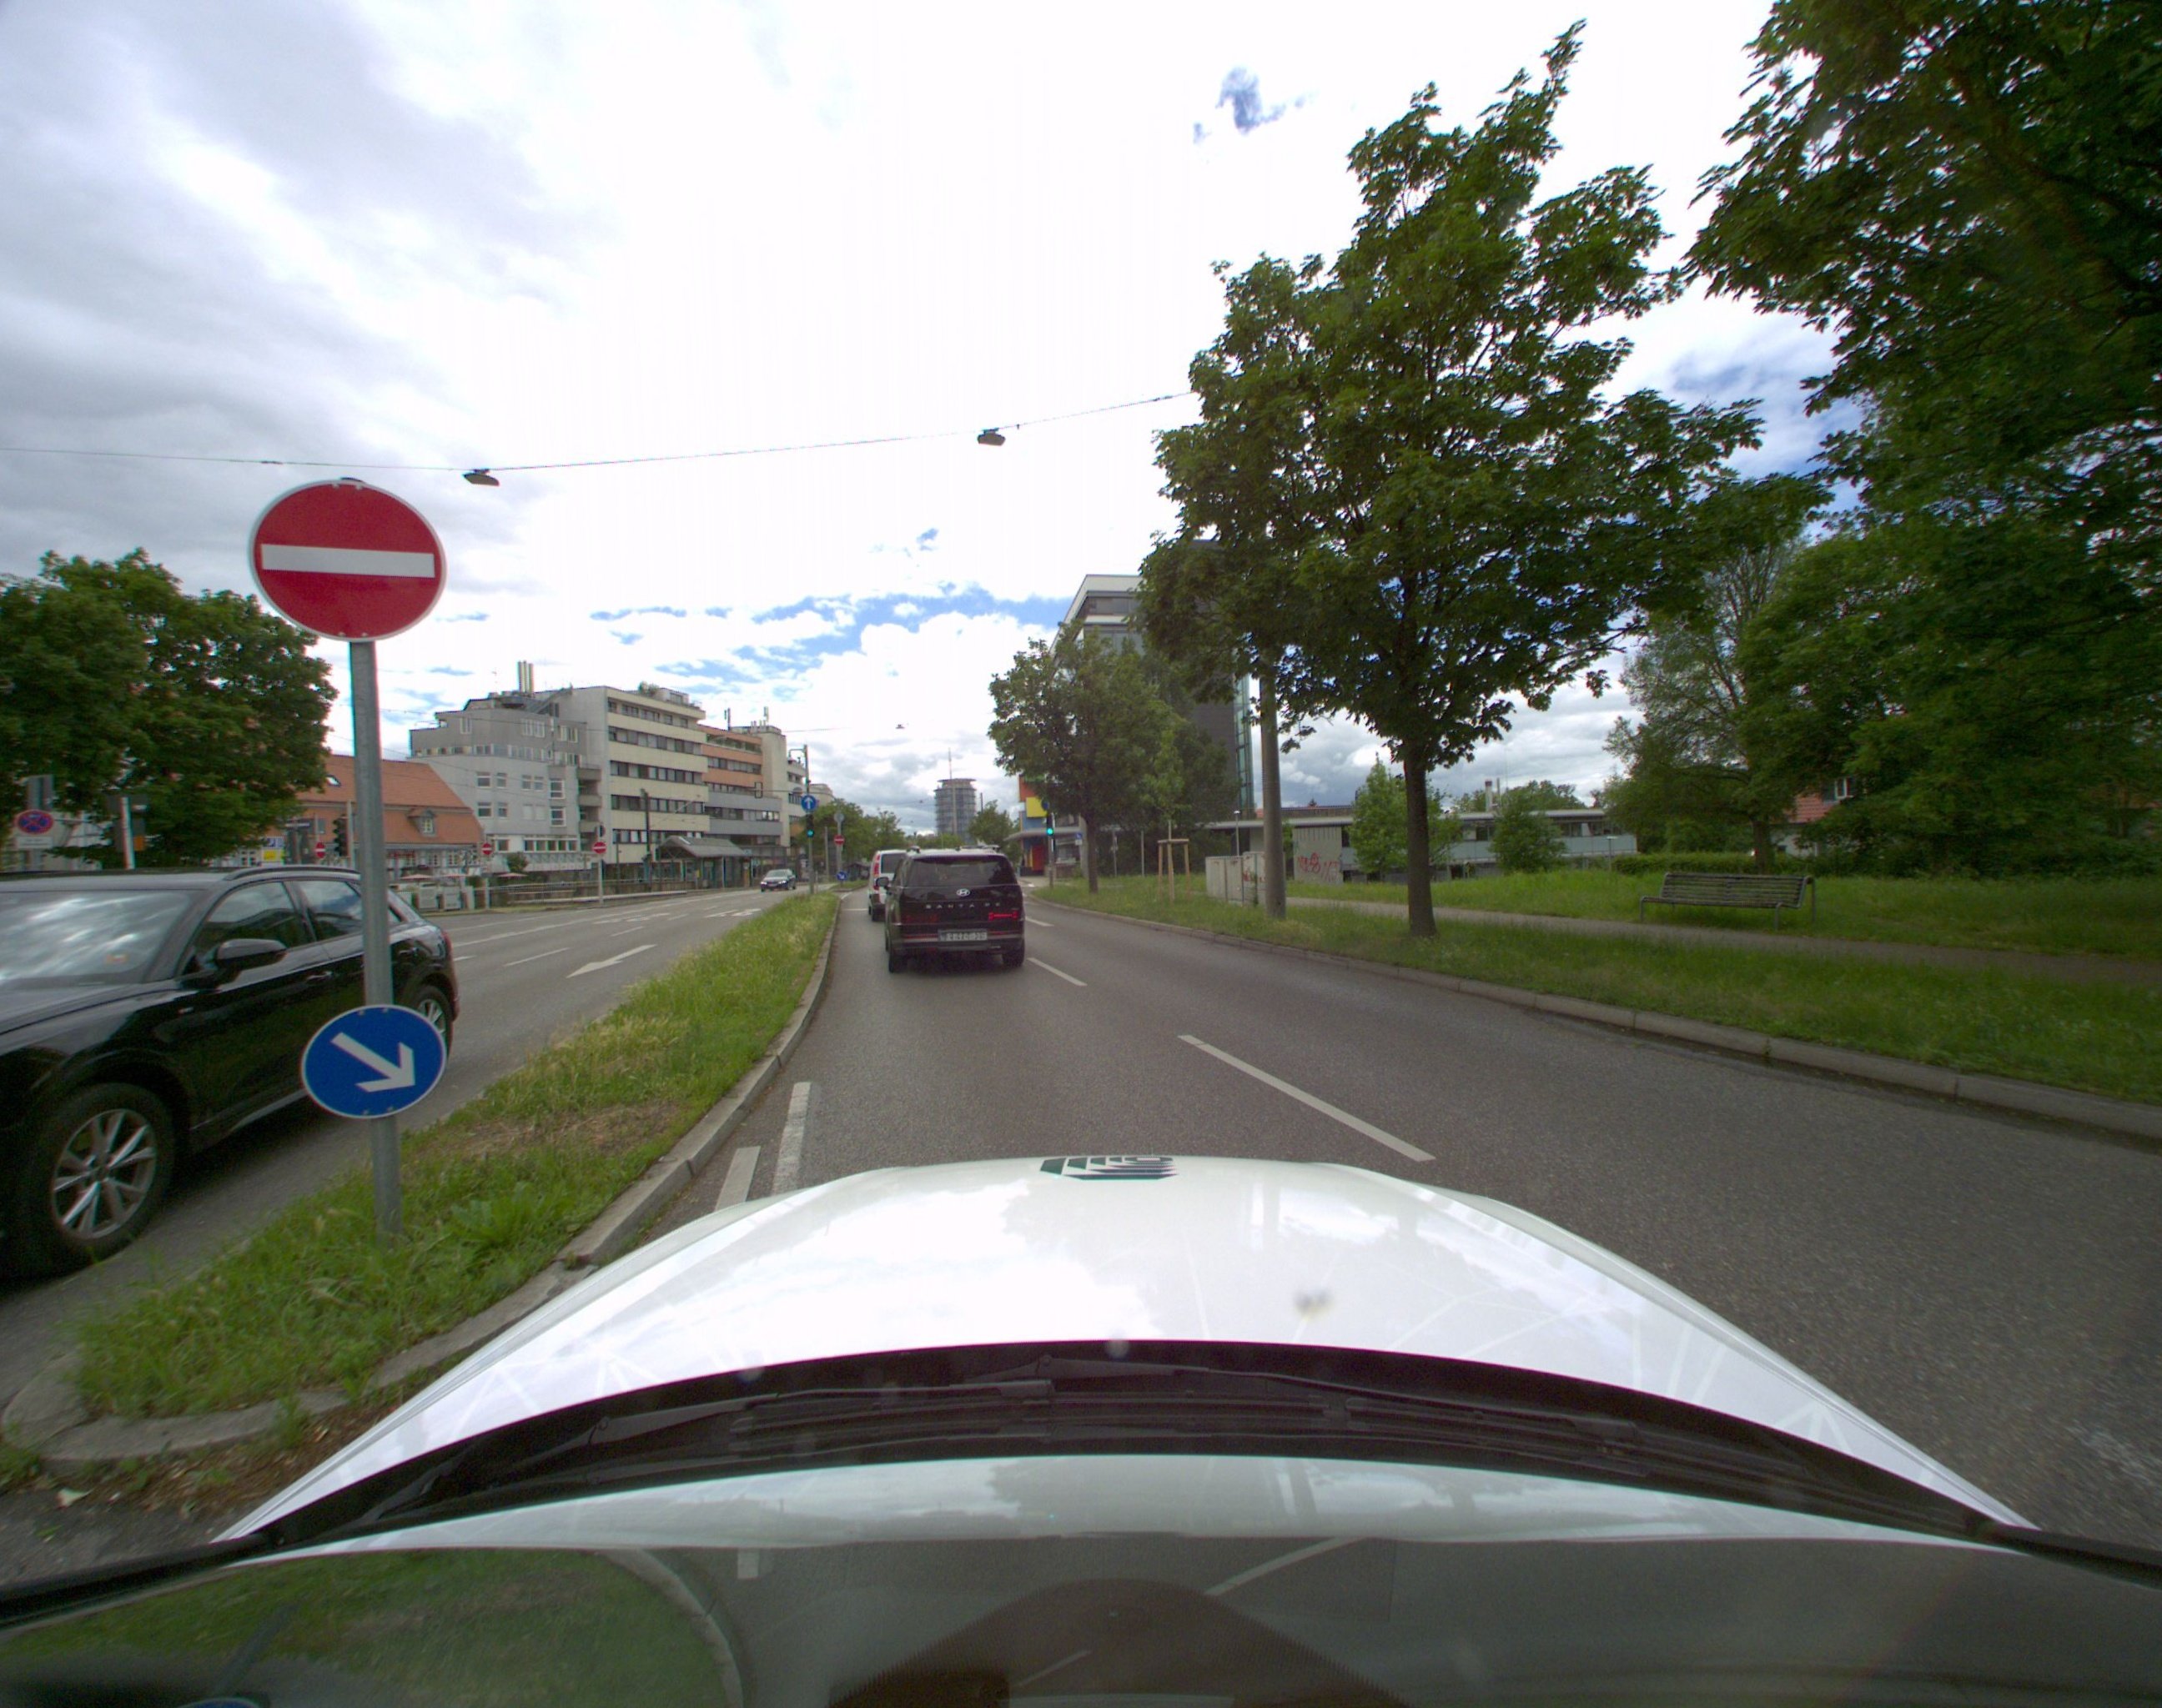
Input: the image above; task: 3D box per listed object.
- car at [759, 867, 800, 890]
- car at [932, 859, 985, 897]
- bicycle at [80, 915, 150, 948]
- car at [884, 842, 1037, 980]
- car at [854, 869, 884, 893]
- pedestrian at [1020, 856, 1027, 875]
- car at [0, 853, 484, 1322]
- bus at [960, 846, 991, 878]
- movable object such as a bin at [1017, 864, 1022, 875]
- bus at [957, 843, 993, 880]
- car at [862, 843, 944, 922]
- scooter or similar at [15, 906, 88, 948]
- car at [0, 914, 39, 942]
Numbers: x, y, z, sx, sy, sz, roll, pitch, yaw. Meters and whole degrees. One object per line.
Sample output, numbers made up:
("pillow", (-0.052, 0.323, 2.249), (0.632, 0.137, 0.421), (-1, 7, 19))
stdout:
("car", (-20.596, 1.652, 55.797), (1.798, 1.455, 4.596), (-2, 0, -10))
("car", (-5.641, 1.045, 36.998), (1.905, 1.542, 4.686), (-1, 0, -14))
("bicycle", (-27.276, 2.179, 23.006), (1.259, 0.804, 0.422), (-2, -1, -13))
("car", (-2.052, 0.715, 12.656), (1.905, 1.731, 4.424), (-1, 0, -14))
("car", (-14.254, 1.772, 54.913), (1.876, 1.418, 4.421), (-1, 0, -14))
("pedestrian", (-5.000, 1.004, 70.815), (0.524, 1.673, 0.731), (-2, -1, -8))
("car", (-5.069, 0.803, 4.138), (1.893, 1.564, 4.371), (-1, 1, -17))
("bus", (-11.157, 0.867, 86.516), (2.950, 3.111, 9.950), (-3, 0, -7))
("movable object such as a bin", (-5.294, 1.312, 70.101), (0.356, 0.898, 0.461), (-2, -1, -8))
("bus", (-10.004, 0.729, 77.098), (2.964, 3.116, 9.220), (-3, 0, -7))
("car", (-5.126, 0.713, 23.029), (1.906, 1.969, 4.609), (-1, 0, -17))
("scooter or similar", (-29.587, 2.093, 23.428), (0.600, 1.085, 1.174), (-2, 0, -5))
("car", (-54.206, 3.714, 40.172), (3.870, 1.295, 1.994), (-3, 0, 14))
